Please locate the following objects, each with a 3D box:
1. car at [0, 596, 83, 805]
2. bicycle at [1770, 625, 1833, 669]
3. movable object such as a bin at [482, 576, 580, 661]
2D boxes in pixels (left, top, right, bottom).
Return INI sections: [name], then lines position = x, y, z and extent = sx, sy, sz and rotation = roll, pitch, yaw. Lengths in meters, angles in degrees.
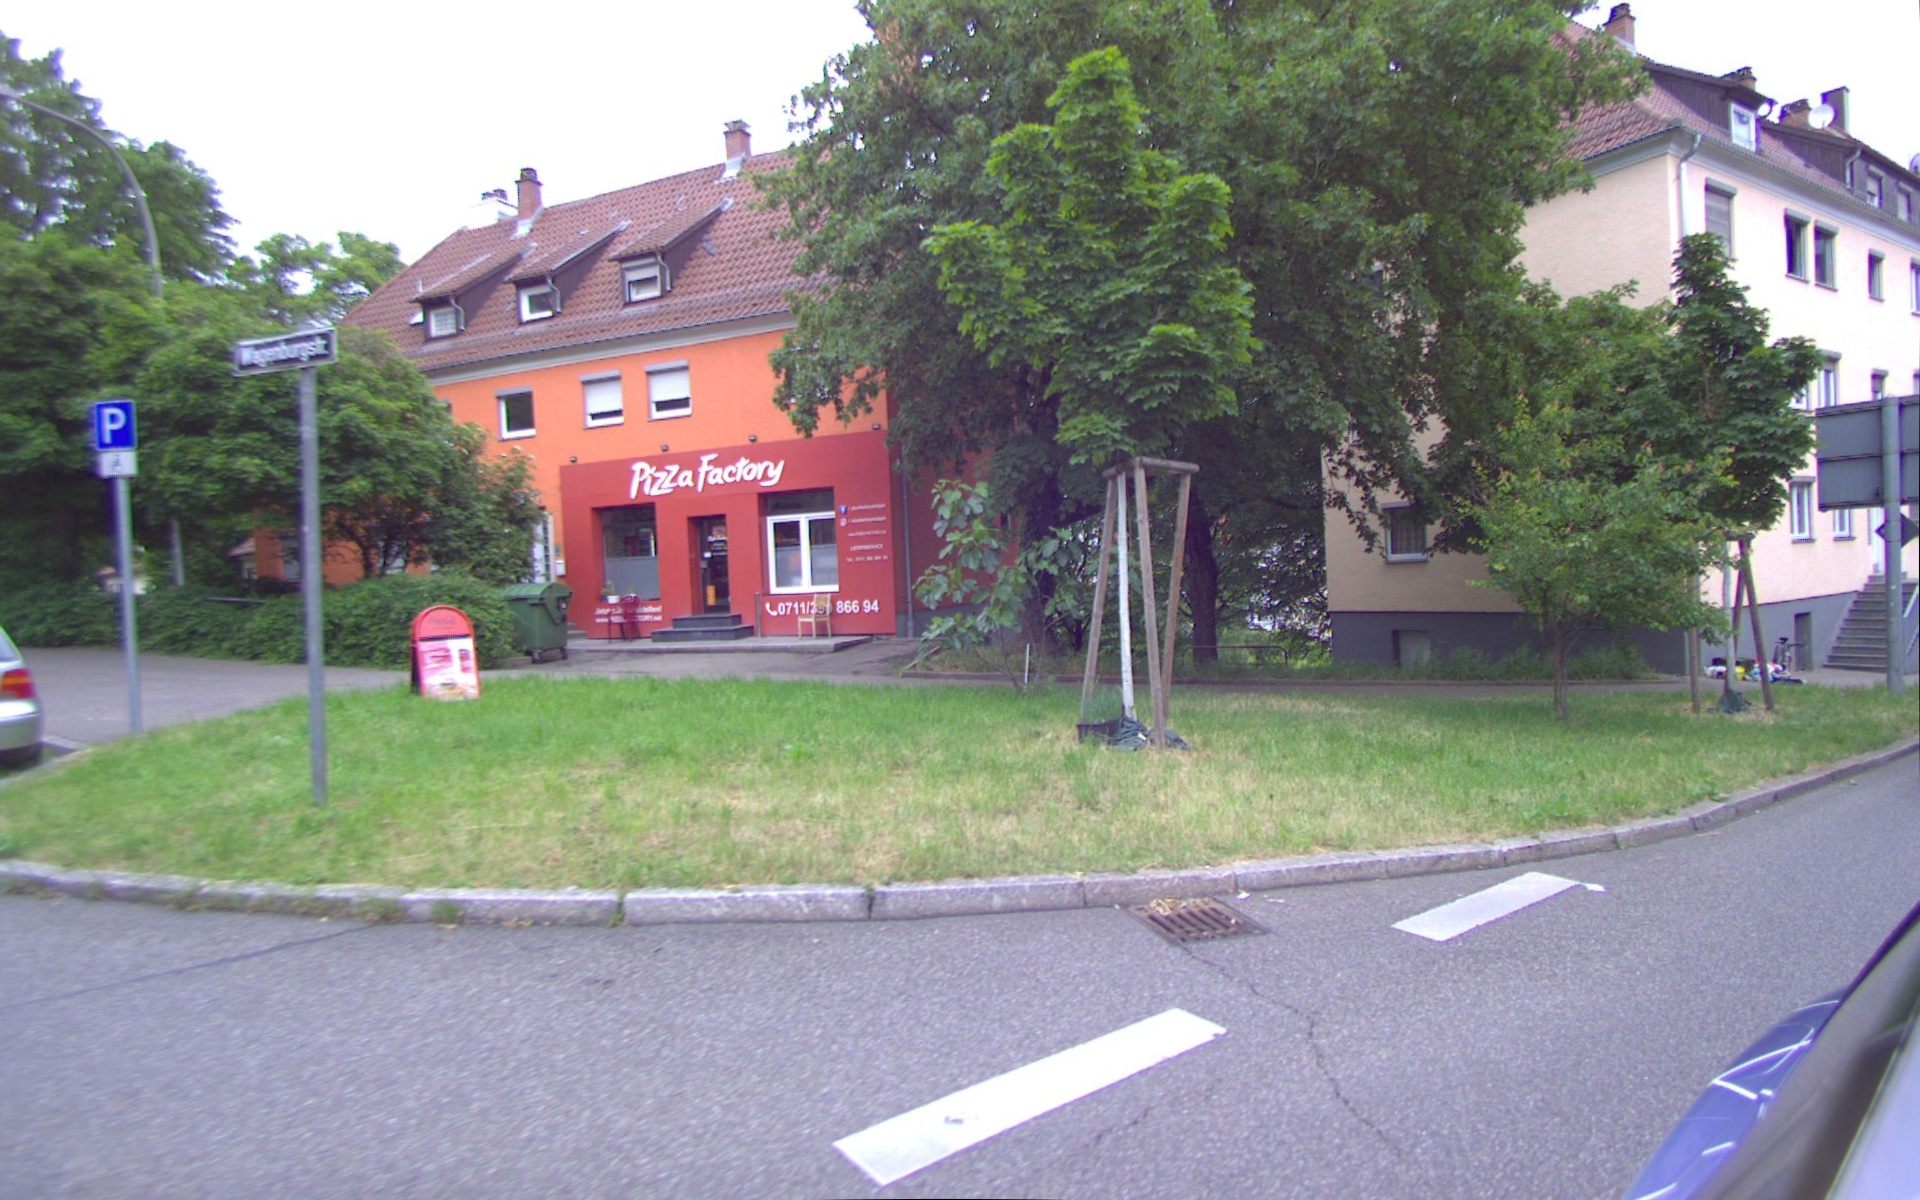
[car]
position = -8.727, 0.681, 7.697
extent = 4.094, 1.446, 1.843
rotation = 1, 0, 29
[bicycle]
position = 16.128, 0.882, 19.390
extent = 1.527, 0.782, 0.490
rotation = 0, 0, -33
[movable object such as a bin]
position = -7.819, 0.303, 18.489
extent = 1.069, 1.468, 1.235
rotation = 0, 2, 20
